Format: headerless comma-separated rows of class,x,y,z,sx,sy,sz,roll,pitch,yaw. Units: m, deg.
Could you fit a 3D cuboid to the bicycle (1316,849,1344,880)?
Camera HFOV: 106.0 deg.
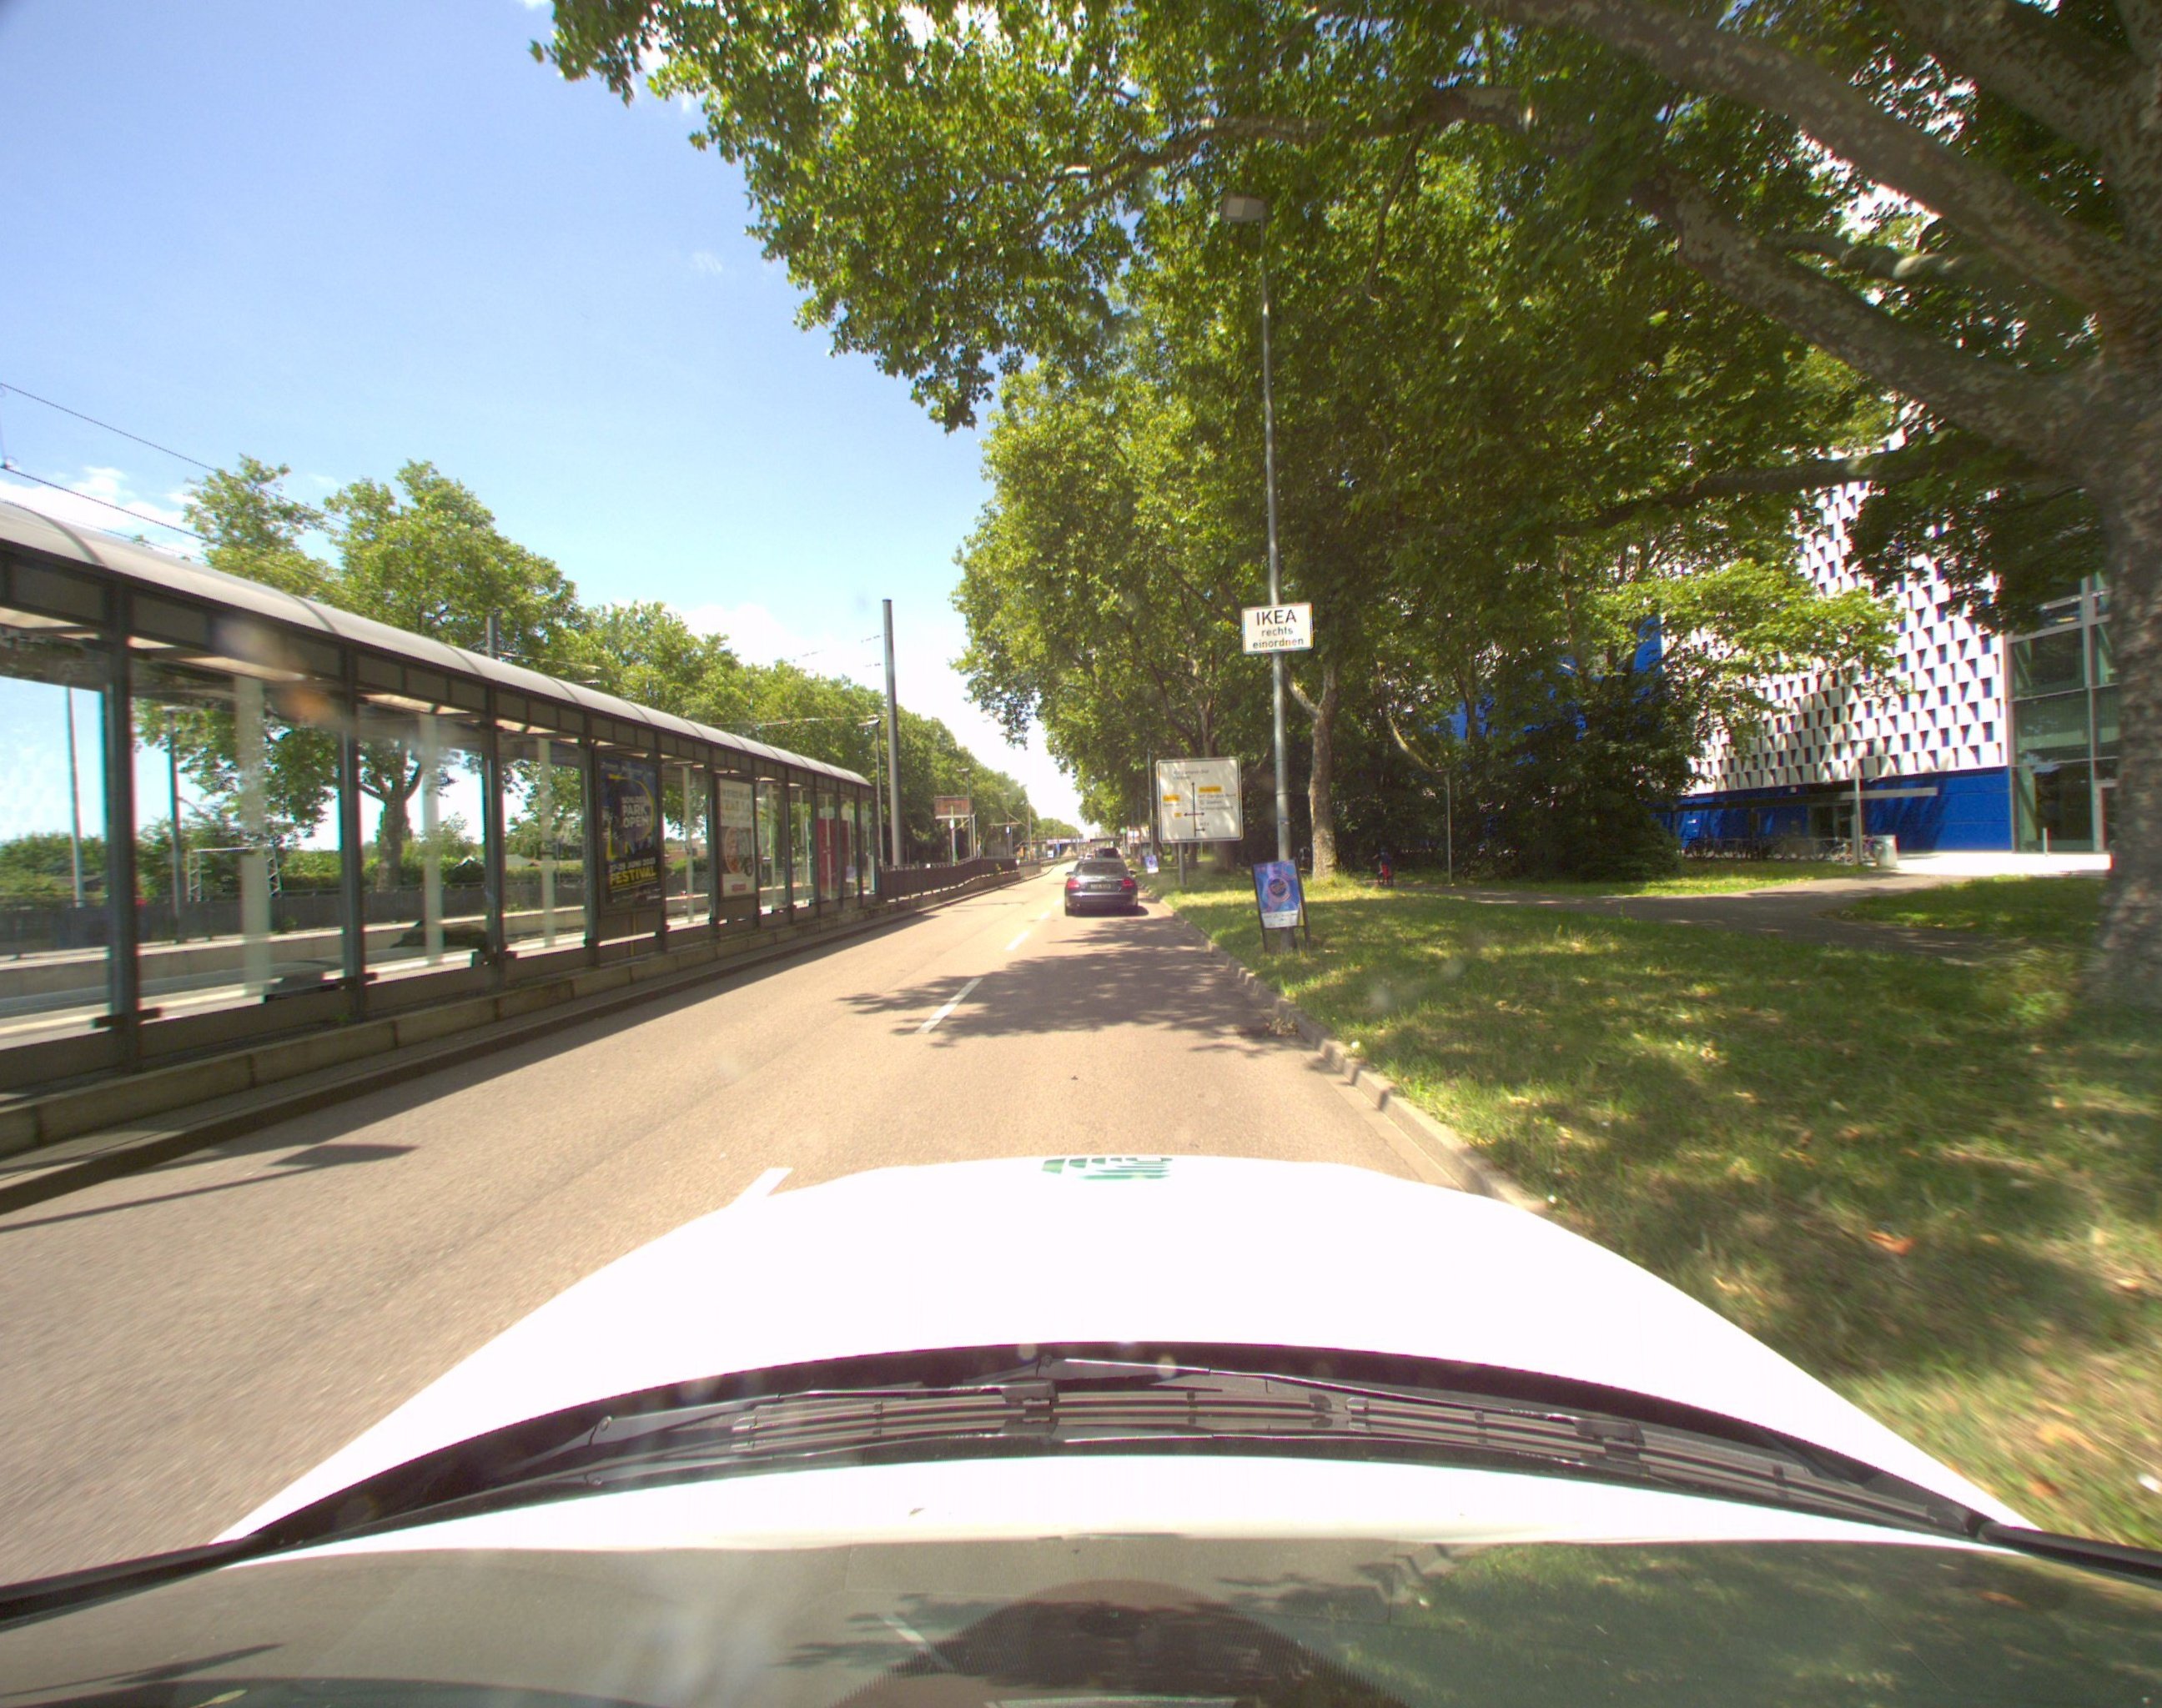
bicycle,12.261,0.505,40.148,0.608,1.420,2.662,-2,0,1

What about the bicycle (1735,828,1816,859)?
bicycle,27.015,-0.391,31.692,2.539,1.110,0.758,-2,0,-3

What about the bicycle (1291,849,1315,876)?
bicycle,12.275,0.473,45.087,0.608,1.420,2.662,-2,0,1

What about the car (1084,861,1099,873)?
car,1.278,1.580,99.553,1.840,1.464,3.999,-2,0,0

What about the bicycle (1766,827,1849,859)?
bicycle,27.272,-0.405,30.586,2.539,1.110,0.758,-2,0,-3

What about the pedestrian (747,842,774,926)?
pedestrian,-5.864,0.541,14.895,0.419,1.508,0.393,-2,0,-22

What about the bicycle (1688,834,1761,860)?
bicycle,27.092,-0.295,34.316,2.539,0.970,0.758,-2,0,-3

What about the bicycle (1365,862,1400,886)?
bicycle,11.662,0.763,31.567,0.643,0.887,2.023,-2,0,1

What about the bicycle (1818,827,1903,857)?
bicycle,27.130,-0.426,28.370,2.310,0.960,0.758,-2,0,-3

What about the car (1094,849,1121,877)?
car,1.983,0.661,59.843,1.840,1.959,4.149,-1,0,4

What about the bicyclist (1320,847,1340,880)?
bicyclist,12.270,0.452,40.163,0.656,1.599,1.054,-2,-1,2

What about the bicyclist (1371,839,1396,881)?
bicyclist,11.679,0.222,31.460,0.620,1.610,0.817,-2,0,3

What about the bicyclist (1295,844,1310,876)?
bicyclist,12.292,0.334,45.179,0.595,1.746,0.843,-1,0,2

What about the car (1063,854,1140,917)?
car,0.496,0.791,21.373,1.836,1.484,3.999,0,-2,0

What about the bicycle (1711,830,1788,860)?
bicycle,27.105,-0.378,33.046,2.539,1.110,0.758,-2,0,-3

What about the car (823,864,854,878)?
car,-28.359,2.003,95.295,3.316,1.475,1.649,-2,-1,-10

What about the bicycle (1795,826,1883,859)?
bicycle,27.444,-0.417,29.499,2.539,1.110,0.758,-2,0,-3
